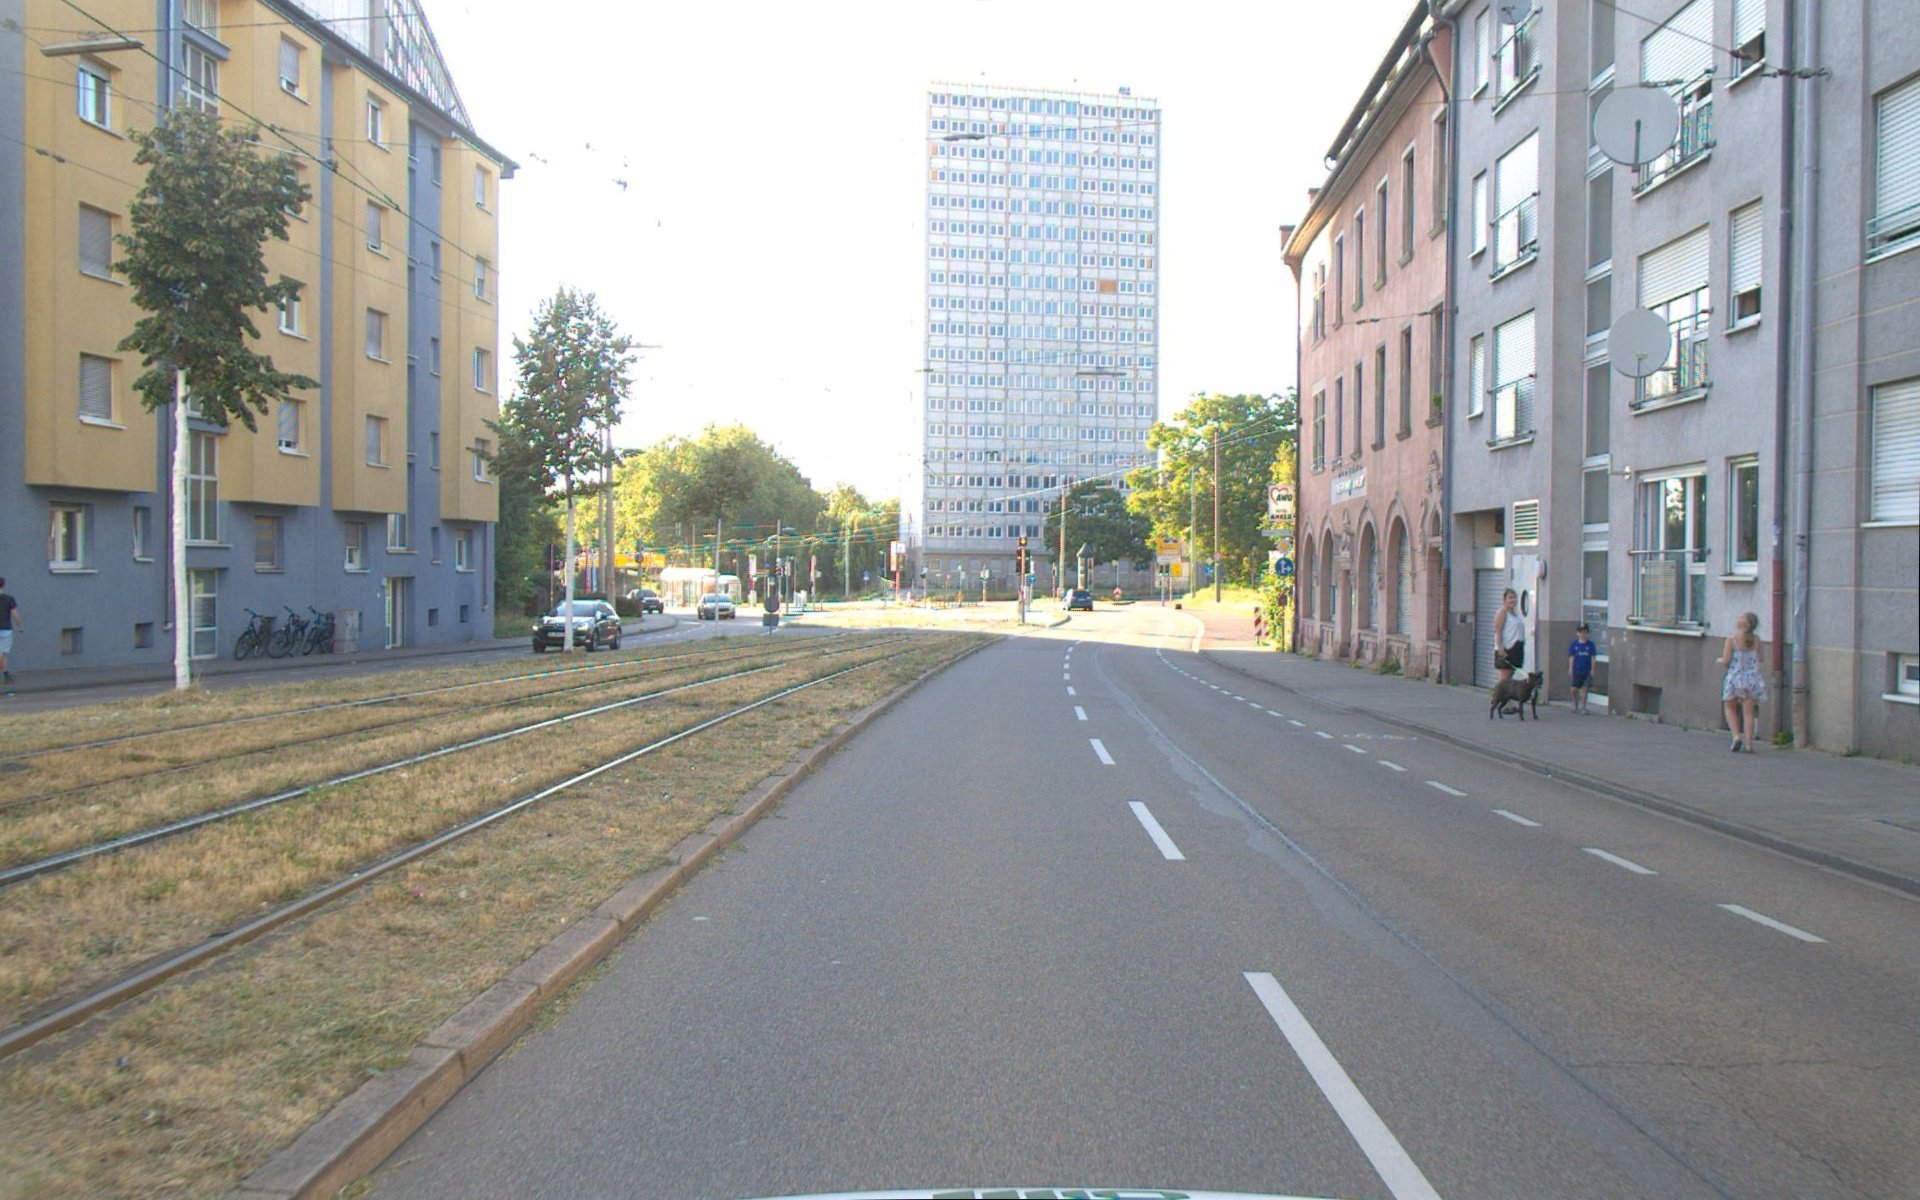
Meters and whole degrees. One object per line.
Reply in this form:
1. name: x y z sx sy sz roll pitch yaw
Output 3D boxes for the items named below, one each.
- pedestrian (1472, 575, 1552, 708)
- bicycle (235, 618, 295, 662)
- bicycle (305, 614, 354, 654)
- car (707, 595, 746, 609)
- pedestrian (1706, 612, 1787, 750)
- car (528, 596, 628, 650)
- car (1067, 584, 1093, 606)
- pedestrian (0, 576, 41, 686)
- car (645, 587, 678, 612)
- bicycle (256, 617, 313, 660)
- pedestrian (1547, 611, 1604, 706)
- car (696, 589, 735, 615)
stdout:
1. pedestrian: 7.666 0.559 23.001 0.812 1.802 0.996 0 0 3
2. bicycle: -16.249 0.928 38.691 0.418 0.941 1.913 3 0 4
3. bicycle: -16.149 0.863 42.386 0.418 0.976 1.913 0 0 4
4. car: -26.896 0.200 190.625 3.902 1.556 2.002 0 1 13
5. pedestrian: 7.952 0.806 16.730 0.503 1.368 0.609 -1 -1 -1
6. car: -11.498 0.676 50.066 1.756 1.494 4.797 -2 0 2
7. car: 8.224 -0.348 112.818 1.735 1.447 3.858 0 1 4
8. pedestrian: -16.221 0.512 28.084 0.581 1.803 0.886 4 1 2
9. car: -21.370 -0.027 118.285 1.887 1.691 4.689 -1 1 -15
10. bicycle: -16.315 0.920 39.969 0.418 0.941 1.913 4 0 4
11. pedestrian: 8.452 0.797 22.736 0.575 1.273 0.585 0 0 2
12. car: -14.541 0.123 98.480 1.662 1.485 4.316 -1 0 0
